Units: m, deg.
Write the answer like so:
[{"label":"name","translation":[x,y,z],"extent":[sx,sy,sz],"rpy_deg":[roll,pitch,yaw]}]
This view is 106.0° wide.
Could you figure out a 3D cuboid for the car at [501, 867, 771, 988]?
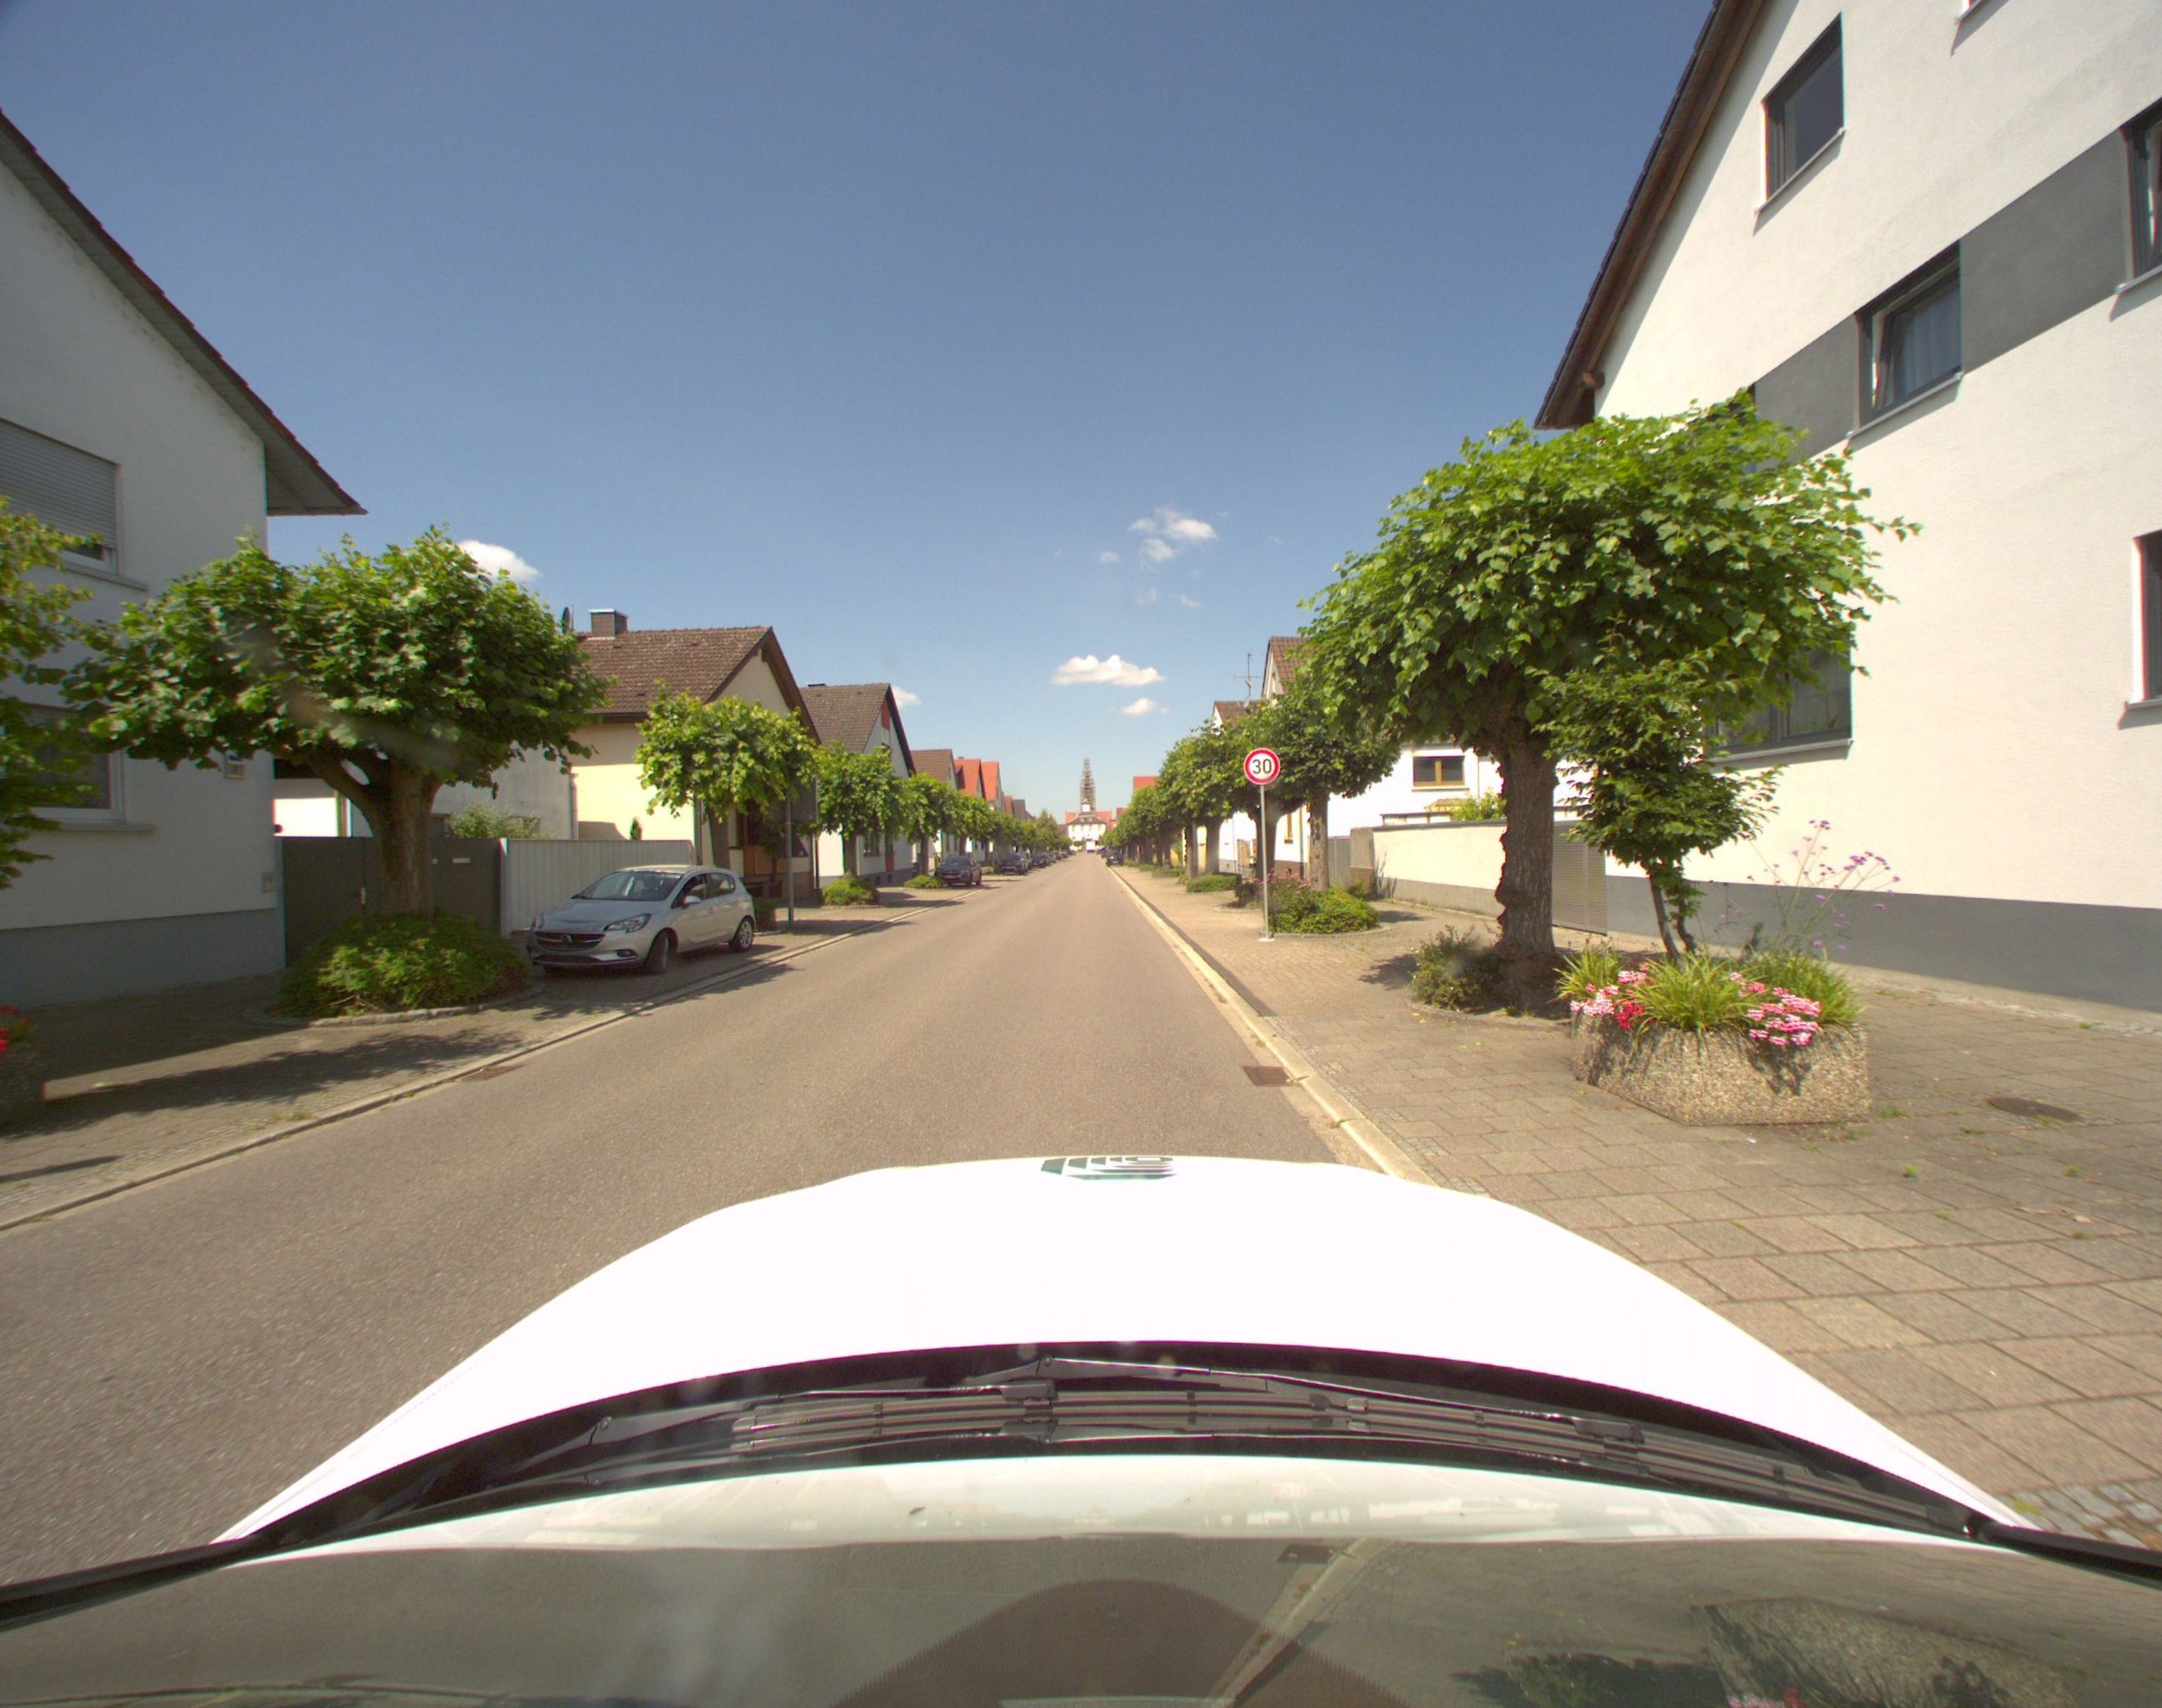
[{"label":"car","translation":[-6.533,0.983,12.586],"extent":[1.818,1.483,4.133],"rpy_deg":[0,0,1]}]

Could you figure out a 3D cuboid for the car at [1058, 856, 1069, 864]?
[{"label":"car","translation":[-3.616,1.188,169.910],"extent":[1.986,1.611,4.691],"rpy_deg":[1,1,2]}]

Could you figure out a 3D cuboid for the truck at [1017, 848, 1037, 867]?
[{"label":"truck","translation":[-5.085,0.346,77.284],"extent":[1.571,1.765,4.192],"rpy_deg":[0,0,1]}]

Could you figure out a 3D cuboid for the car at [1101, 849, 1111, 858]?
[{"label":"car","translation":[4.803,-0.161,155.712],"extent":[1.831,1.555,4.314],"rpy_deg":[-3,0,0]}]

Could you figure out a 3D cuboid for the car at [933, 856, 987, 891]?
[{"label":"car","translation":[-5.968,0.925,40.566],"extent":[1.845,1.613,4.138],"rpy_deg":[0,0,3]}]

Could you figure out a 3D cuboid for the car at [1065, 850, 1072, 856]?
[{"label":"car","translation":[-3.218,-0.296,212.776],"extent":[1.751,1.555,4.021],"rpy_deg":[-2,0,1]}]

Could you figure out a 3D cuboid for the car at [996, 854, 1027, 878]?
[{"label":"car","translation":[-5.165,0.870,60.777],"extent":[1.846,1.636,4.300],"rpy_deg":[1,1,1]}]

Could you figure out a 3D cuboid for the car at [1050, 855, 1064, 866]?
[{"label":"car","translation":[-3.460,0.924,118.907],"extent":[1.834,1.396,4.406],"rpy_deg":[-1,0,0]}]

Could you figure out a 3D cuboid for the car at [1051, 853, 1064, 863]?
[{"label":"car","translation":[-4.219,0.728,147.954],"extent":[1.986,1.611,4.691],"rpy_deg":[0,0,2]}]

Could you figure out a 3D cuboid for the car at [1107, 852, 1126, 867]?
[{"label":"car","translation":[3.693,0.579,86.178],"extent":[1.818,1.432,4.057],"rpy_deg":[-4,1,1]}]

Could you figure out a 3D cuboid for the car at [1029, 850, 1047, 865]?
[{"label":"car","translation":[-4.896,0.369,93.777],"extent":[1.846,1.635,4.057],"rpy_deg":[0,0,1]}]

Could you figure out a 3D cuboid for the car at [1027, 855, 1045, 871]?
[{"label":"car","translation":[-4.769,0.901,85.689],"extent":[1.782,1.634,3.993],"rpy_deg":[0,0,-5]}]
